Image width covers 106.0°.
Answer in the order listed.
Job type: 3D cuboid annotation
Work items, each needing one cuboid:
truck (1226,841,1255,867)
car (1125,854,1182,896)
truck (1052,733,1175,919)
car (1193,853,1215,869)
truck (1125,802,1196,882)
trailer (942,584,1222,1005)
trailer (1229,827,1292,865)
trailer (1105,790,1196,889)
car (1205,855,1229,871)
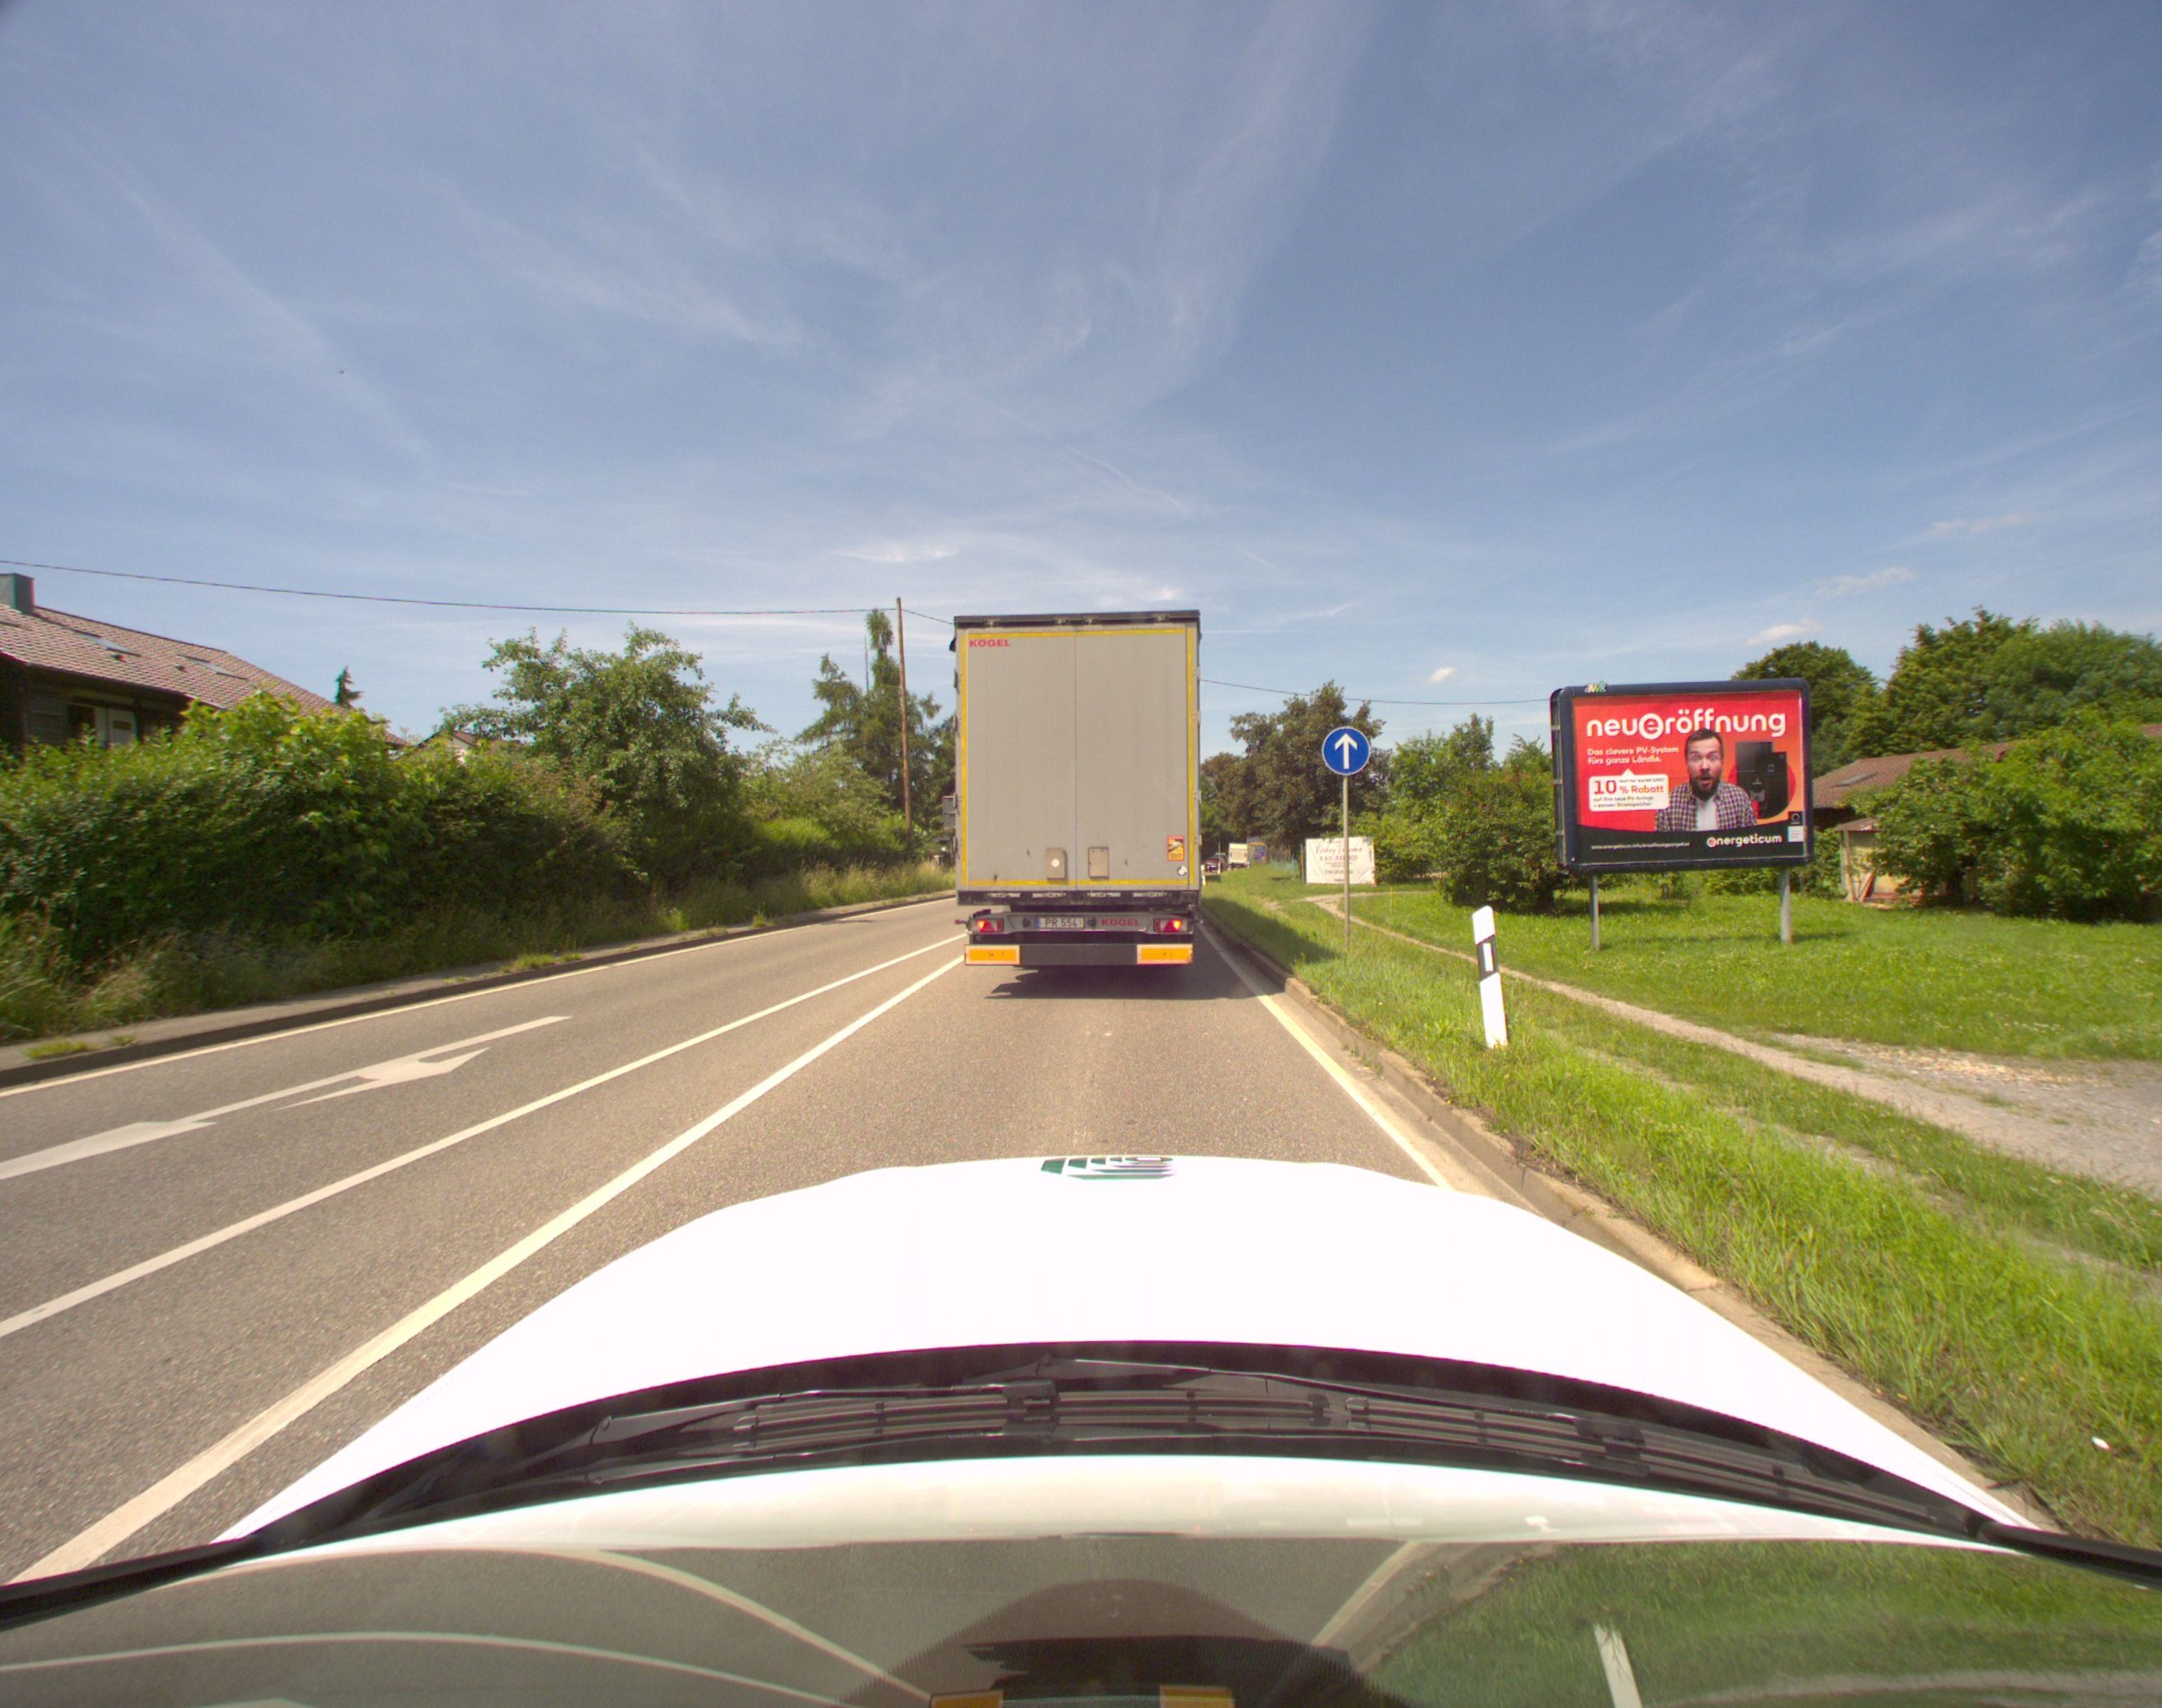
[{"bbox_3d":[18.284,-0.062,92.908,2.400,2.838,5.439,-1,0,20],"label":"truck"},{"bbox_3d":[2.973,0.817,32.824,1.982,1.530,4.010,-1,0,9],"label":"car"},{"bbox_3d":[1.085,-0.650,21.483,2.731,4.165,6.154,-1,0,6],"label":"truck"},{"bbox_3d":[15.075,0.847,99.365,1.978,1.837,4.019,-1,0,18],"label":"car"},{"bbox_3d":[5.089,-0.674,50.692,3.914,4.574,7.170,-1,0,9],"label":"truck"},{"bbox_3d":[0.463,-0.638,14.262,2.774,4.205,12.126,-1,0,4],"label":"trailer"},{"bbox_3d":[24.221,-1.038,108.832,5.133,4.628,15.984,-1,0,23],"label":"trailer"},{"bbox_3d":[4.090,-0.670,44.020,3.868,4.521,12.746,-1,0,9],"label":"trailer"},{"bbox_3d":[13.535,0.837,80.989,1.827,1.486,4.018,-1,0,16],"label":"car"}]
